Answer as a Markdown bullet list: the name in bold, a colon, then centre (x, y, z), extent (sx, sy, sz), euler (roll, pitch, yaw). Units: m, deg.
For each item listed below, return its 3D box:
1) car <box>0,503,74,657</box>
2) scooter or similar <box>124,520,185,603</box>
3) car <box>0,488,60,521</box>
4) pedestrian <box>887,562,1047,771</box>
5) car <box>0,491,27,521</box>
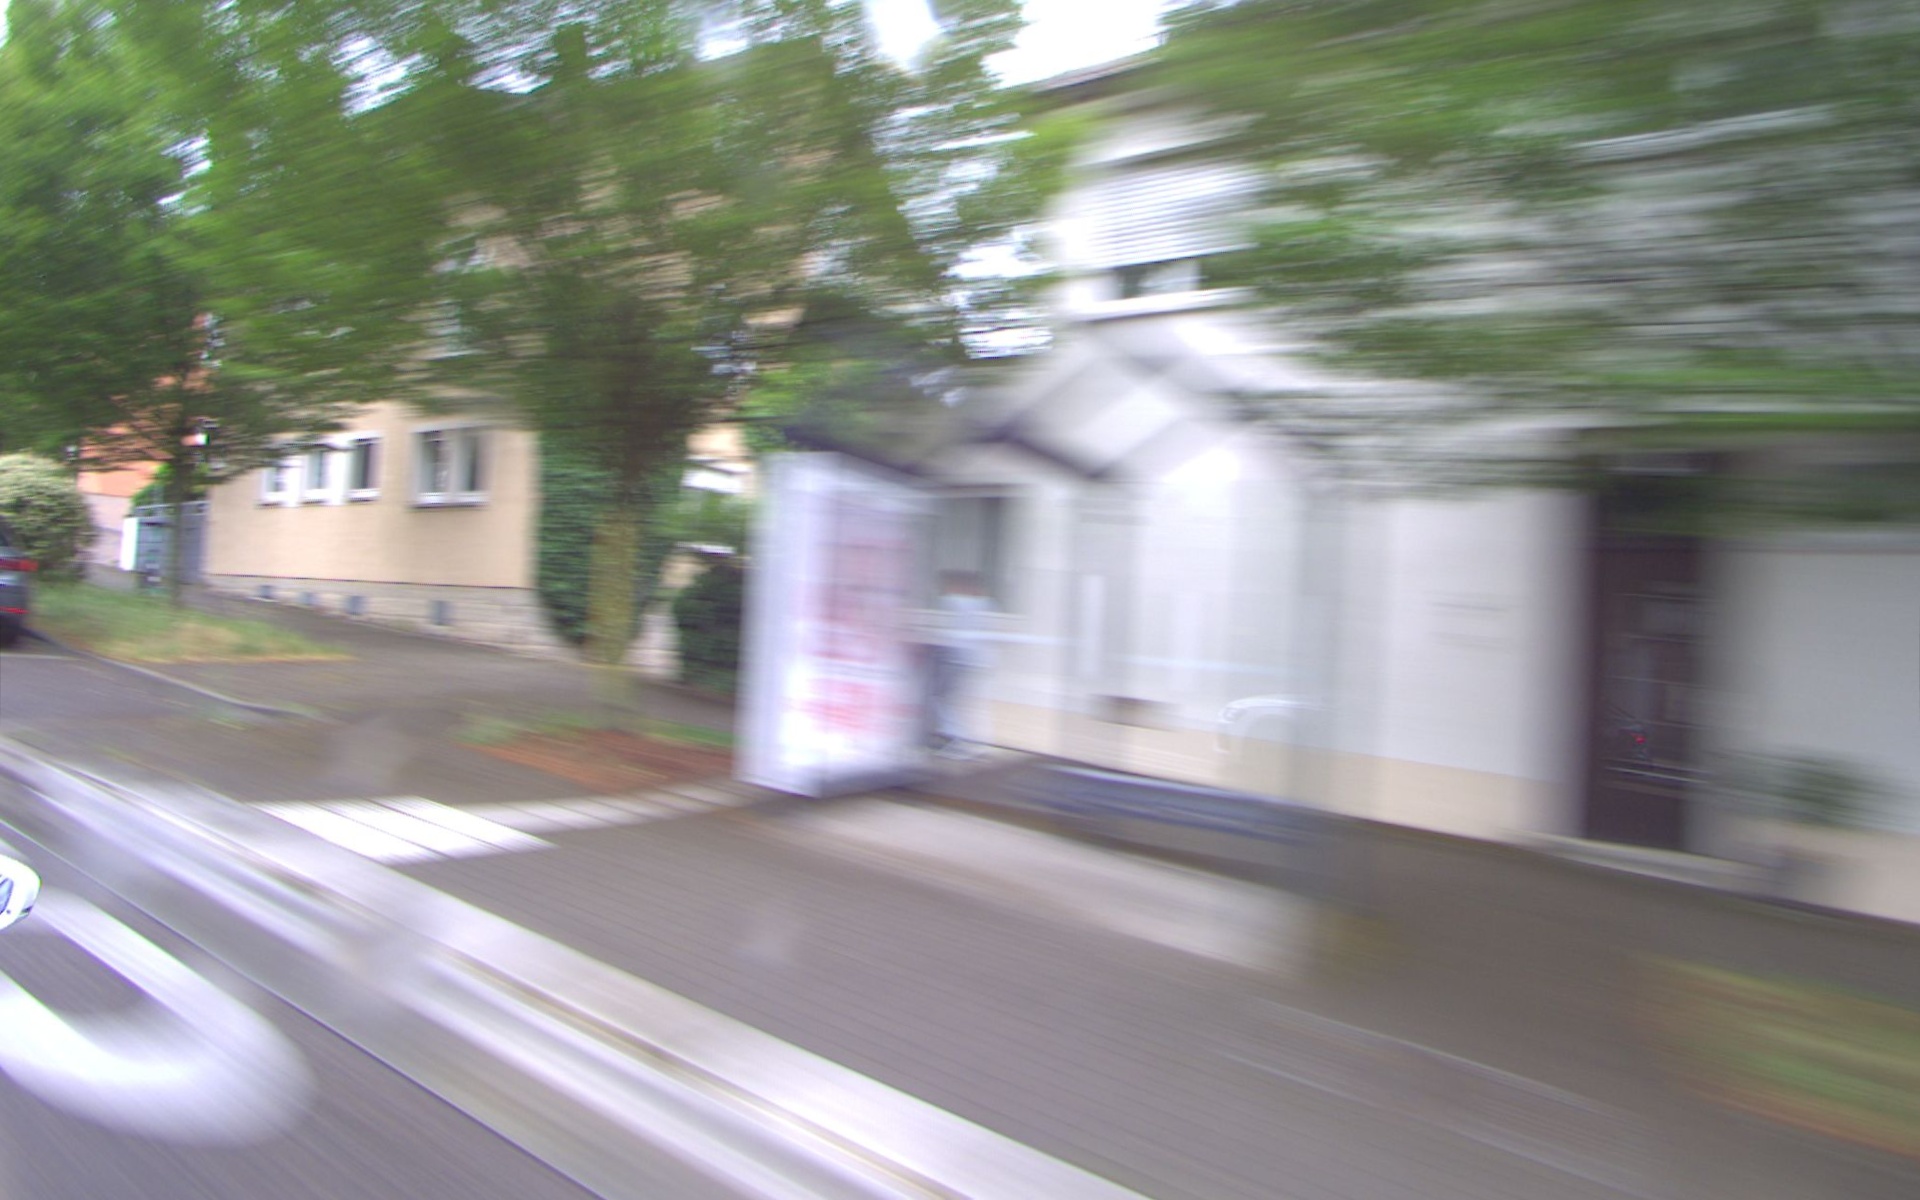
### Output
- **car**: centre (-11.285, -0.443, 10.550), extent (4.396, 1.433, 1.880), euler (7, -1, 34)
- **scooter or similar**: centre (-13.536, -0.654, 16.900), extent (1.156, 1.260, 0.413), euler (7, 1, 35)
- **car**: centre (-57.283, -5.857, 61.821), extent (1.762, 1.571, 4.694), euler (8, -1, -28)
- **pedestrian**: centre (0.067, 0.572, 9.187), extent (1.028, 1.709, 0.832), euler (7, 3, 33)
- **car**: centre (-53.386, -5.298, 55.709), extent (1.643, 1.537, 3.966), euler (8, -1, -32)
